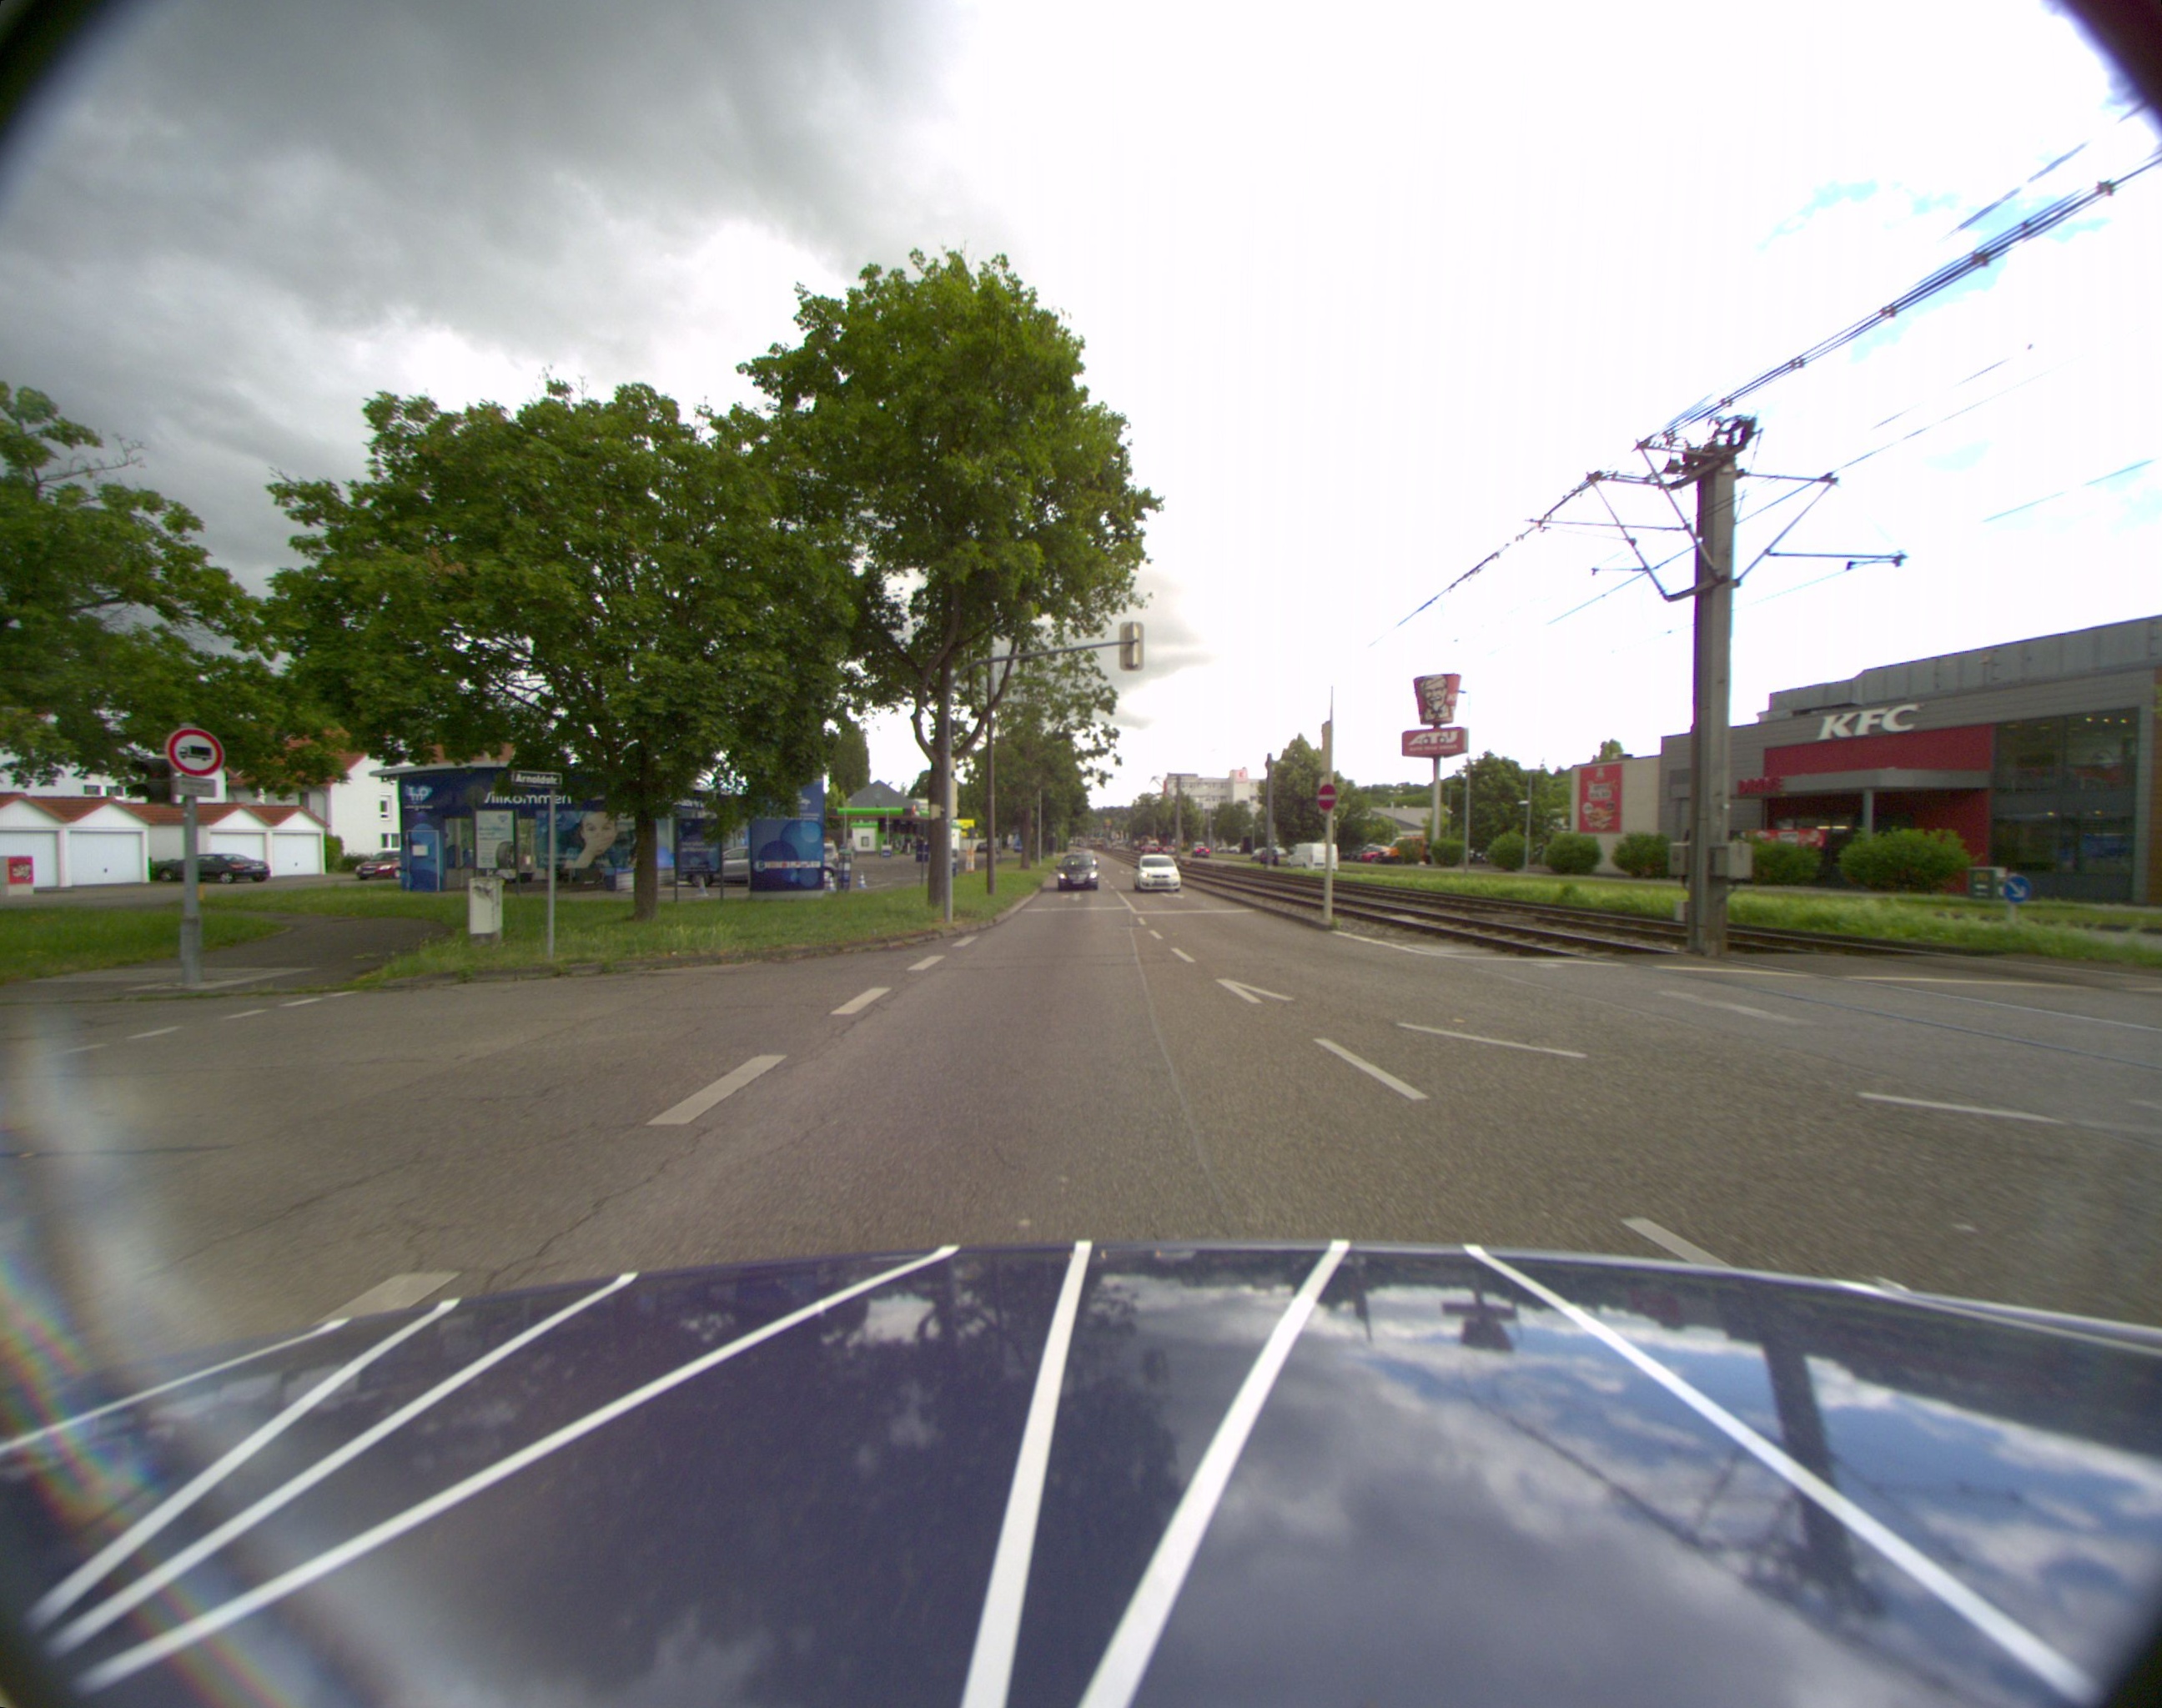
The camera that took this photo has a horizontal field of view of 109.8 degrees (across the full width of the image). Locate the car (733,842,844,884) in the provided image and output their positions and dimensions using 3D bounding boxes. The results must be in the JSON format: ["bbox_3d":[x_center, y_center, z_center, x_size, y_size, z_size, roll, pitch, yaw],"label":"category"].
[{"bbox_3d":[-13.303,0.357,34.715,4.393,1.811,1.746,0,1,-43],"label":"car"}]

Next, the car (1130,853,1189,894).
[{"bbox_3d":[3.174,0.765,31.494,1.787,1.436,3.998,-3,1,-3],"label":"car"}]

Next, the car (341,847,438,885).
[{"bbox_3d":[-37.003,0.580,40.823,1.948,1.832,4.246,-3,1,-13],"label":"car"}]

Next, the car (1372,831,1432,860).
[{"bbox_3d":[26.142,-0.698,61.955,3.997,2.153,2.058,-2,1,-1],"label":"car"}]

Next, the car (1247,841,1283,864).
[{"bbox_3d":[17.032,-0.173,70.533,1.999,2.002,4.104,0,1,-5],"label":"car"}]

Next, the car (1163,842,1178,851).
[{"bbox_3d":[16.033,-1.415,136.583,1.999,1.474,3.998,2,1,-2],"label":"car"}]

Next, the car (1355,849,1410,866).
[{"bbox_3d":[26.643,0.302,67.229,3.997,1.229,1.999,-2,1,-1],"label":"car"}]

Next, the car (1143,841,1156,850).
[{"bbox_3d":[13.025,-1.629,144.939,1.788,1.573,4.479,1,1,-5],"label":"car"}]

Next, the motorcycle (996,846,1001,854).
[{"bbox_3d":[-12.283,-0.671,113.589,0.704,1.180,2.386,0,1,-7],"label":"motorcycle"}]

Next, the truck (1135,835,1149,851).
[{"bbox_3d":[15.748,-2.848,196.665,2.899,3.944,8.629,1,1,0],"label":"truck"}]

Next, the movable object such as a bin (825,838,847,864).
[{"bbox_3d":[-17.229,-0.193,53.489,1.162,1.808,1.454,0,1,-4],"label":"movable object such as a bin"}]

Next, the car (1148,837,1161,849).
[{"bbox_3d":[15.301,-2.307,158.898,1.874,2.485,5.997,1,1,-2],"label":"car"}]

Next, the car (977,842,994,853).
[{"bbox_3d":[-14.895,-1.086,119.065,1.998,1.629,4.325,2,1,0],"label":"car"}]

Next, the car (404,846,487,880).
[{"bbox_3d":[-38.428,0.506,46.098,1.948,1.832,4.461,-3,1,-13],"label":"car"}]

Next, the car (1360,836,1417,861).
[{"bbox_3d":[26.072,-0.443,64.532,3.997,1.907,1.999,-2,1,-1],"label":"car"}]

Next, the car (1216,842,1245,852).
[{"bbox_3d":[25.532,-1.280,130.054,4.611,1.484,2.000,-2,1,3],"label":"car"}]

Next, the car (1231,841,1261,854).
[{"bbox_3d":[26.089,-1.024,120.466,4.355,1.908,2.000,-2,1,3],"label":"car"}]

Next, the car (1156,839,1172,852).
[{"bbox_3d":[14.127,-1.470,129.734,1.999,2.002,3.997,2,1,-5],"label":"car"}]

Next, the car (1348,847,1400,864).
[{"bbox_3d":[26.896,0.140,69.821,3.997,1.359,2.093,-2,1,-1],"label":"car"}]

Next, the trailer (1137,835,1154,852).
[{"bbox_3d":[15.719,-2.650,185.079,2.678,3.875,14.421,2,1,-1],"label":"trailer"}]

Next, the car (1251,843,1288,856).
[{"bbox_3d":[25.198,-0.647,101.784,4.482,1.498,1.794,-3,1,-4],"label":"car"}]

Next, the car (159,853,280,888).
[{"bbox_3d":[-40.725,0.775,35.974,3.557,1.449,1.775,-2,1,-1],"label":"car"}]

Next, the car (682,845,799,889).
[{"bbox_3d":[-13.694,0.512,30.864,4.217,1.687,1.837,0,0,-20],"label":"car"}]

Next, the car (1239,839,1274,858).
[{"bbox_3d":[25.603,-0.794,111.011,4.481,2.733,2.288,1,1,-1],"label":"car"}]

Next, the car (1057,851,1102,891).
[{"bbox_3d":[-0.021,0.730,34.721,1.786,1.614,4.000,-2,1,3],"label":"car"}]

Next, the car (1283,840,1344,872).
[{"bbox_3d":[14.994,0.094,49.339,2.000,2.002,4.882,0,1,-6],"label":"car"}]

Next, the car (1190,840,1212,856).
[{"bbox_3d":[16.202,-0.833,102.465,1.999,2.002,4.244,0,1,-5],"label":"car"}]

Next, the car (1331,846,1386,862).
[{"bbox_3d":[26.431,-0.029,72.512,4.385,1.346,2.195,-2,1,-1],"label":"car"}]
